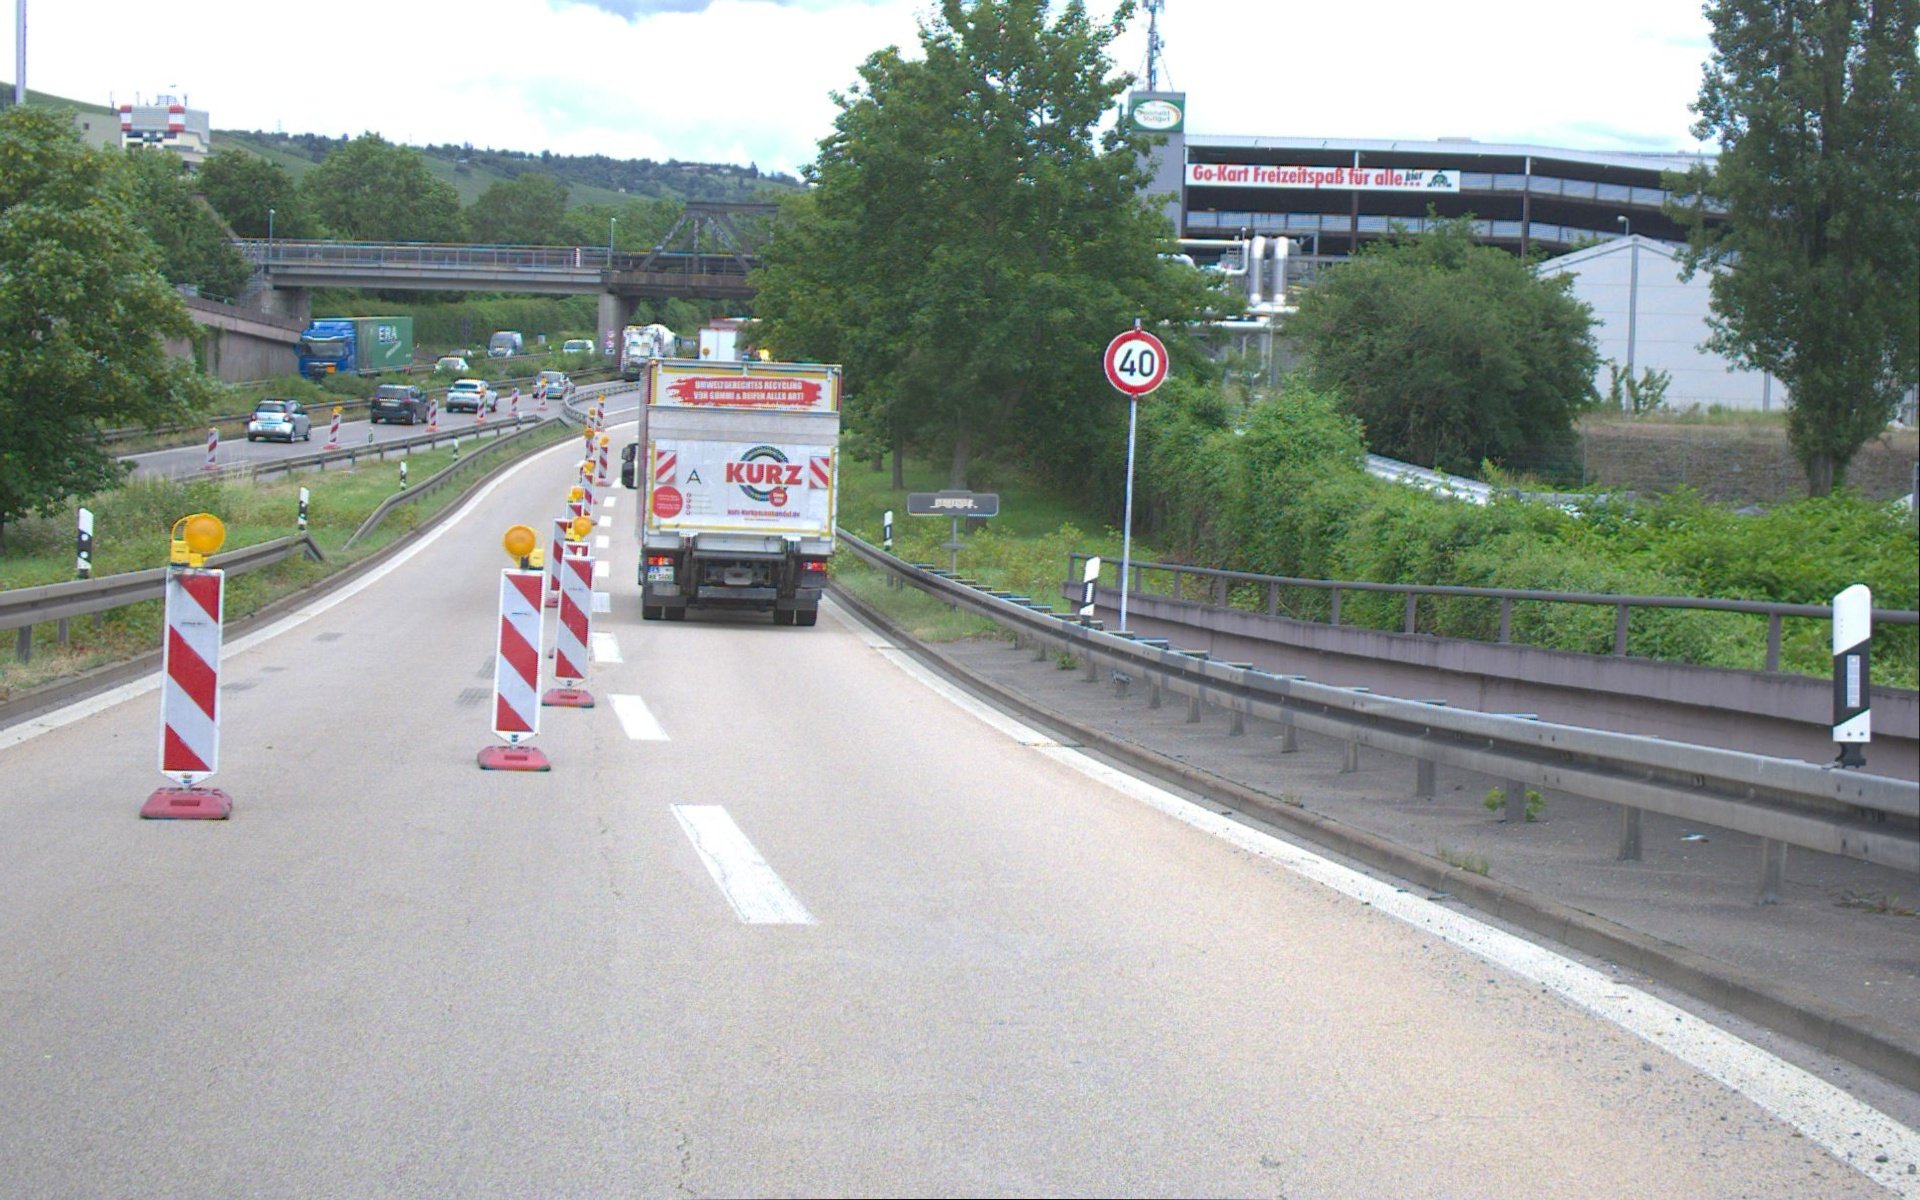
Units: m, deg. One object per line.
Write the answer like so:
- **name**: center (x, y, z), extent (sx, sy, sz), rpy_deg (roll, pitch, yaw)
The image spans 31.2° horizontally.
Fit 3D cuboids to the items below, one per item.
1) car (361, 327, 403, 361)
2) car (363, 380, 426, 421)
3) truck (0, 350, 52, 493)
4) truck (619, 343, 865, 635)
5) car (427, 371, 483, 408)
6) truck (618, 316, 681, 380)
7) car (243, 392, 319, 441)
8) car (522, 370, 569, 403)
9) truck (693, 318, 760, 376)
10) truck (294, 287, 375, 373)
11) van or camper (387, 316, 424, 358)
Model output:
- **car**: center (-36.490, -16.162, 217.167), extent (1.993, 2.006, 4.001), rpy_deg (2, 4, -1)
- **car**: center (-23.963, -8.462, 145.690), extent (1.993, 1.612, 4.001), rpy_deg (2, 4, -1)
- **truck**: center (-26.341, -4.722, 90.076), extent (3.051, 3.643, 7.397), rpy_deg (2, 4, 0)
- **truck**: center (-3.197, -1.722, 48.492), extent (3.050, 3.659, 7.931), rpy_deg (2, 4, -5)
- **car**: center (-23.562, -9.850, 160.589), extent (1.993, 1.612, 4.001), rpy_deg (2, 4, -1)
- **truck**: center (-19.652, -15.961, 217.970), extent (3.286, 3.838, 7.667), rpy_deg (2, 4, -1)
- **car**: center (-24.960, -6.766, 126.394), extent (1.993, 1.612, 4.001), rpy_deg (2, 4, -1)
- **car**: center (-21.910, -11.315, 181.690), extent (1.993, 1.612, 4.001), rpy_deg (2, 4, -1)
- **truck**: center (-15.254, -16.556, 225.084), extent (3.287, 3.587, 7.665), rpy_deg (3, 4, 4)
- **truck**: center (-32.251, -13.911, 177.404), extent (2.753, 4.256, 5.503), rpy_deg (3, 4, 3)
- **van or camper**: center (-36.116, -17.144, 223.993), extent (1.738, 2.627, 4.056), rpy_deg (2, 4, -1)
